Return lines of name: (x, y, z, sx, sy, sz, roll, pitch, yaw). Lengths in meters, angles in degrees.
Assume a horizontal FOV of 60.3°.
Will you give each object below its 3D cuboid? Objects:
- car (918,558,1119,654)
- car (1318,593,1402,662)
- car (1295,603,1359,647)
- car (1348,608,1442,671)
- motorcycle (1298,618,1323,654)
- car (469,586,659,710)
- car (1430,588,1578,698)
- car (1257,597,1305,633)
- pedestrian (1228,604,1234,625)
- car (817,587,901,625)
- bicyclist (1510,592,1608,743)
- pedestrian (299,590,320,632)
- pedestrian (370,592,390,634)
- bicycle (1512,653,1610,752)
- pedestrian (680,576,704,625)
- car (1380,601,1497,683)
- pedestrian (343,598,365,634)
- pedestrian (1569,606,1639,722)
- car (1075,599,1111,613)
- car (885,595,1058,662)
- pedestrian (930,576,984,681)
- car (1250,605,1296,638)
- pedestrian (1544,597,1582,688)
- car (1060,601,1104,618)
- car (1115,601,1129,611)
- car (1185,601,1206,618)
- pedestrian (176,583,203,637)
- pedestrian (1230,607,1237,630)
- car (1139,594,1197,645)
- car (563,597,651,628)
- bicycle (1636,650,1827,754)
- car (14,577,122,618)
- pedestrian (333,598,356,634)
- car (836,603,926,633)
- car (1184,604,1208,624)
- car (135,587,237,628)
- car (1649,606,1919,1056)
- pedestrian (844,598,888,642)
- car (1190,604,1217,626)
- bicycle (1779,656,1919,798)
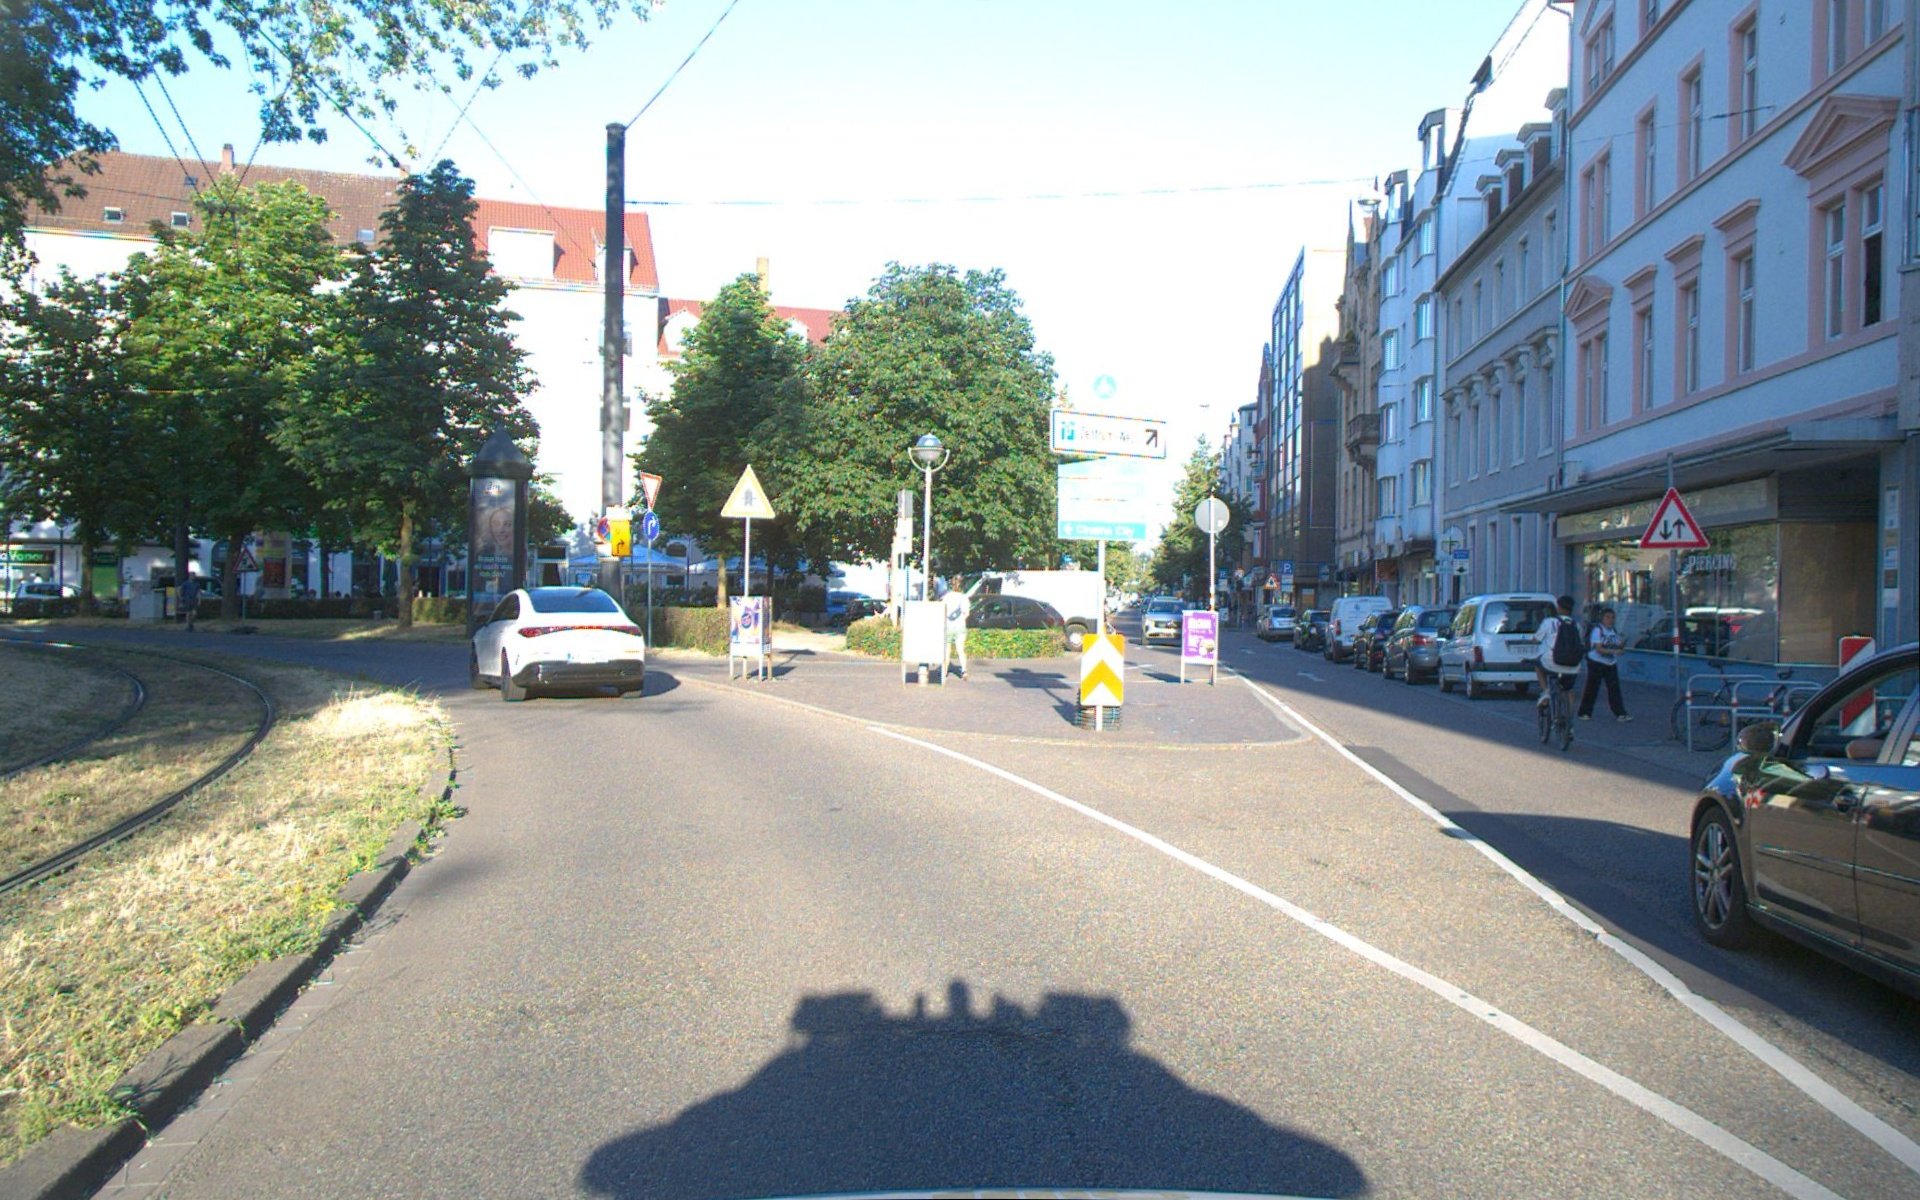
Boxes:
car: (1.695, 0.193, 48.088, 5.431, 2.640, 2.142, 1, 0, -21)
car: (11.462, 0.774, 47.616, 1.884, 1.873, 4.020, 0, 0, 7)
car: (13.276, 0.896, 60.010, 1.715, 1.537, 3.977, 0, 0, 4)
car: (10.792, 0.945, 41.218, 1.698, 1.488, 3.587, 0, 0, 6)
motorcycle: (12.032, 1.219, 56.780, 0.477, 1.195, 1.607, -1, 0, -1)
car: (-5.548, 0.577, 22.813, 1.840, 1.466, 4.166, -1, 1, -24)
car: (9.661, 0.734, 29.654, 1.698, 1.831, 3.919, 0, 0, 6)
car: (14.257, 0.666, 73.589, 1.715, 1.537, 3.547, 0, 0, 4)
pedestrian: (25.292, 1.333, 154.437, 0.519, 1.957, 0.542, 1, 0, 4)
car: (-5.129, 0.309, 83.642, 3.924, 1.813, 1.844, 1, 0, -17)
bicyclist: (6.846, 0.753, 18.946, 0.760, 1.646, 1.025, 2, 0, 5)
pedestrian: (-23.941, 0.388, 60.856, 0.524, 1.524, 0.659, 1, 0, -6)
pedestrian: (-21.389, 0.486, 60.983, 0.524, 1.524, 0.659, 1, 0, -6)
bicycle: (6.867, 1.146, 18.983, 0.566, 1.004, 1.937, 2, 0, 5)
pedestrian: (-10.878, 0.040, 67.165, 0.915, 1.957, 0.856, 1, 0, -7)
car: (10.072, 0.854, 35.067, 1.698, 1.645, 3.919, 0, 0, 6)
pedestrian: (-23.838, 0.625, 65.072, 0.654, 1.376, 0.659, 1, 0, -6)
pedestrian: (9.056, 0.889, 23.284, 0.618, 1.582, 0.737, 1, 0, -7)
car: (13.514, 0.624, 168.165, 3.316, 1.310, 1.669, 2, 0, -10)
car: (0.291, 0.709, 41.421, 3.940, 1.579, 1.862, 1, 0, -27)
pedestrian: (-0.048, 0.474, 28.141, 0.842, 1.736, 0.941, 2, 0, 0)
car: (14.641, 0.996, 77.499, 1.715, 1.537, 3.547, 0, 0, 4)
pedestrian: (11.143, 0.773, 30.573, 0.491, 1.653, 0.497, 2, 0, 6)
car: (10.135, 0.799, 137.854, 3.316, 1.310, 1.669, 2, 0, -10)
car: (21.077, 0.759, 215.371, 1.632, 1.310, 3.391, 2, 0, 7)
car: (21.726, 0.908, 152.855, 1.715, 1.537, 3.547, 0, 0, 4)
pedestrian: (-22.880, 0.292, 49.112, 0.557, 1.594, 0.585, 2, -1, -42)
pedestrian: (23.940, 1.628, 144.573, 0.519, 1.957, 0.542, 1, 0, 4)
car: (7.717, 0.687, 61.687, 1.951, 1.803, 4.002, 1, 0, 5)
car: (-16.689, 0.586, 78.247, 3.924, 1.324, 1.844, 1, 0, -17)
bicycle: (8.476, 1.095, 18.196, 1.816, 1.064, 0.578, -1, 0, 36)
car: (-36.199, -0.095, 67.207, 3.555, 1.579, 1.654, 1, 0, -17)
pedestrian: (-23.842, 0.625, 64.072, 0.654, 1.376, 0.659, 1, 0, -6)
car: (-3.752, 0.862, 78.554, 3.924, 1.324, 1.844, 1, 0, -17)
car: (18.956, 1.126, 132.894, 1.715, 1.537, 3.547, 0, 0, 4)
car: (-31.930, 0.304, 68.352, 3.555, 1.579, 1.654, 1, 0, -17)
car: (4.114, 0.791, 6.127, 1.711, 1.486, 4.106, 1, 0, 5)
pedestrian: (-2.783, 0.591, 48.939, 1.081, 1.248, 0.855, 2, 0, -20)
car: (17.708, 1.070, 120.544, 1.715, 1.537, 3.547, 0, 0, 4)
bicycle: (7.937, 1.069, 14.124, 1.577, 1.138, 0.609, -1, 0, 39)
